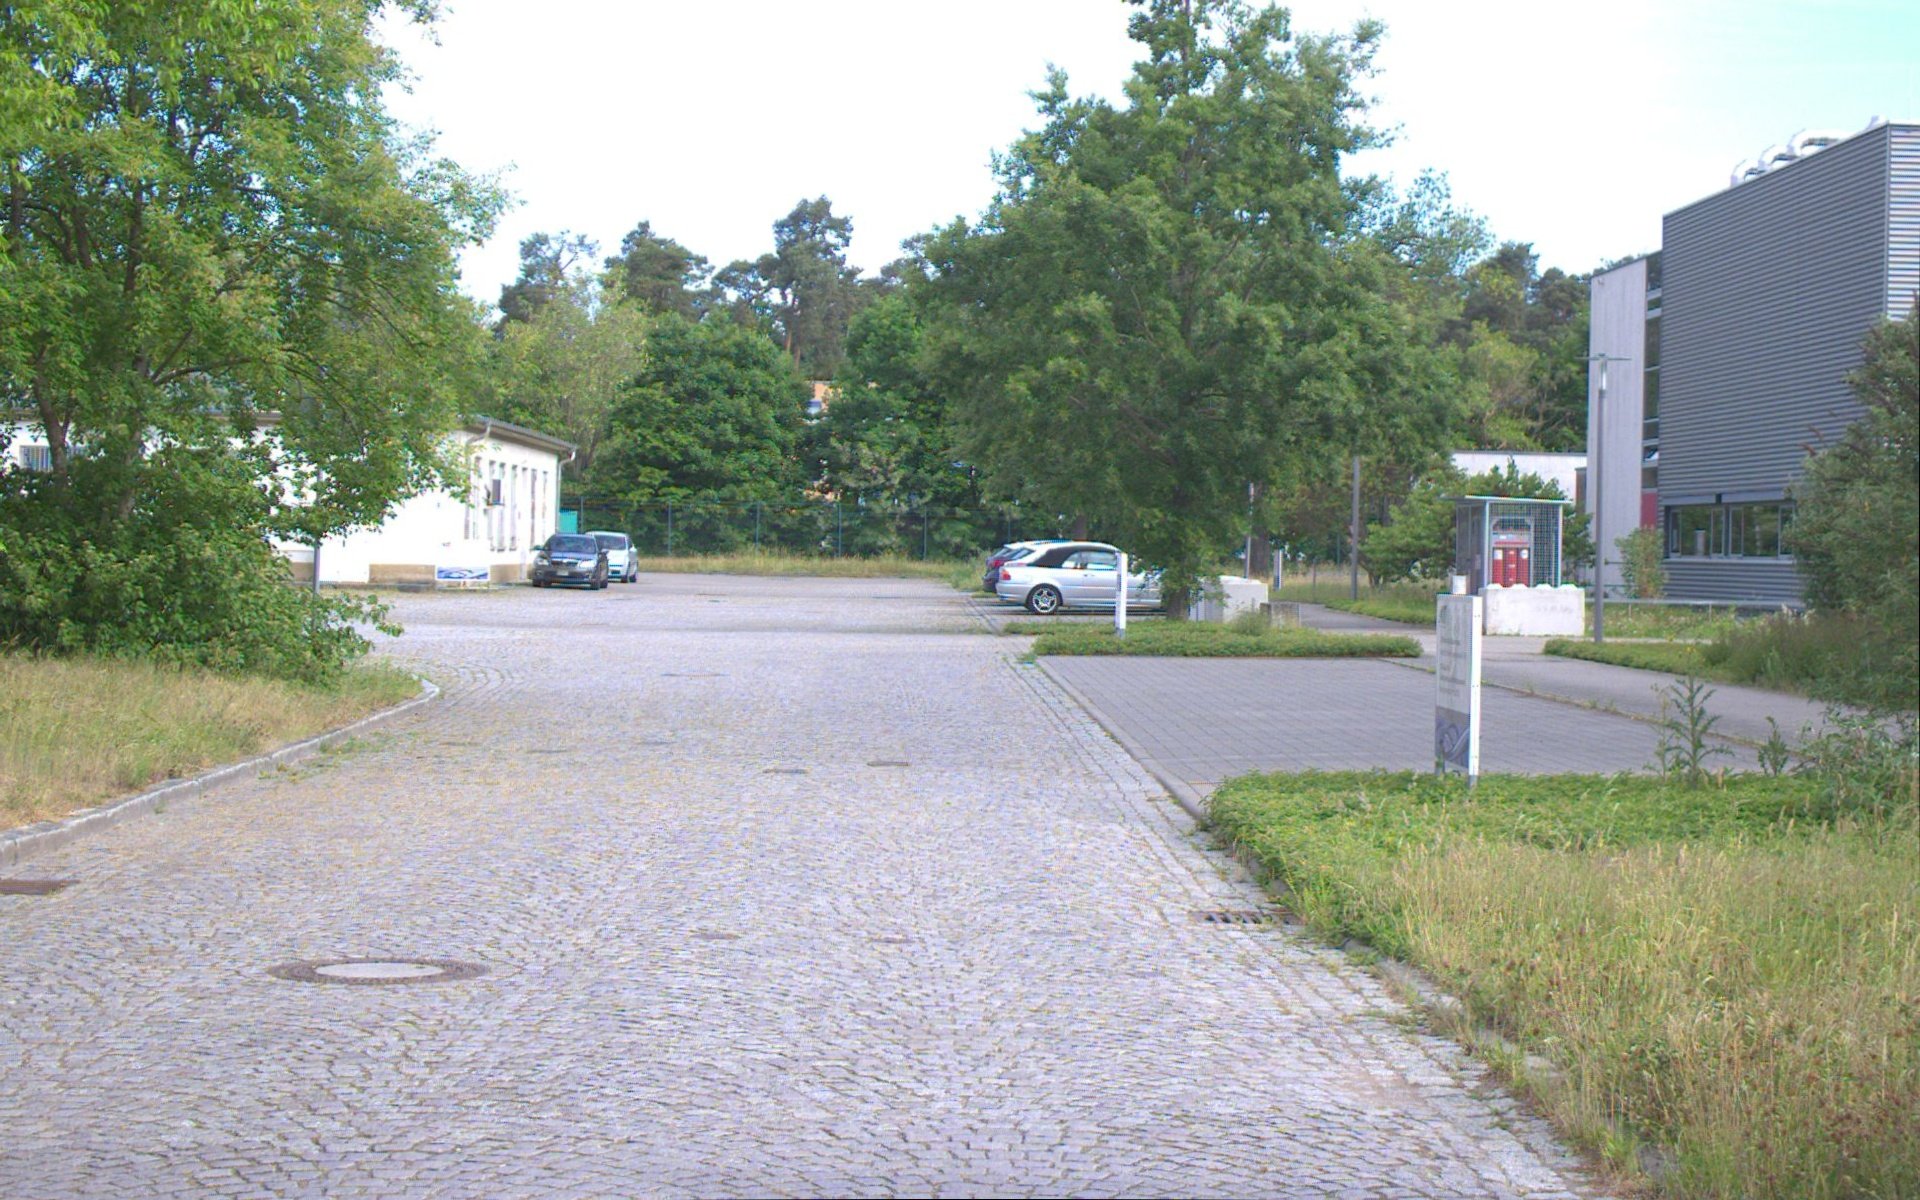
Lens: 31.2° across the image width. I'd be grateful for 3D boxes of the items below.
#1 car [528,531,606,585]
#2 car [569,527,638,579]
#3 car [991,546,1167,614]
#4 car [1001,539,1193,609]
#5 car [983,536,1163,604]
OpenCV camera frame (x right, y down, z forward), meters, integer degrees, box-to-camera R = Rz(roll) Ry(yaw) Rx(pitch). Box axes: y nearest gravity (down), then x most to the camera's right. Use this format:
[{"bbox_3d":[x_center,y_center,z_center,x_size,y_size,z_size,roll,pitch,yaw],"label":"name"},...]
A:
[{"bbox_3d":[-10.448,-1.127,91.595,1.647,1.364,3.998,2,1,-1],"label":"car"},{"bbox_3d":[-10.555,-1.395,101.935,1.647,1.453,3.998,2,1,-1],"label":"car"},{"bbox_3d":[2.402,-0.416,70.197,3.522,1.357,1.622,0,1,0],"label":"car"},{"bbox_3d":[2.889,-0.566,72.896,3.984,1.443,1.653,0,1,0],"label":"car"},{"bbox_3d":[2.543,-0.688,78.023,3.984,1.470,1.653,-1,1,0],"label":"car"}]
